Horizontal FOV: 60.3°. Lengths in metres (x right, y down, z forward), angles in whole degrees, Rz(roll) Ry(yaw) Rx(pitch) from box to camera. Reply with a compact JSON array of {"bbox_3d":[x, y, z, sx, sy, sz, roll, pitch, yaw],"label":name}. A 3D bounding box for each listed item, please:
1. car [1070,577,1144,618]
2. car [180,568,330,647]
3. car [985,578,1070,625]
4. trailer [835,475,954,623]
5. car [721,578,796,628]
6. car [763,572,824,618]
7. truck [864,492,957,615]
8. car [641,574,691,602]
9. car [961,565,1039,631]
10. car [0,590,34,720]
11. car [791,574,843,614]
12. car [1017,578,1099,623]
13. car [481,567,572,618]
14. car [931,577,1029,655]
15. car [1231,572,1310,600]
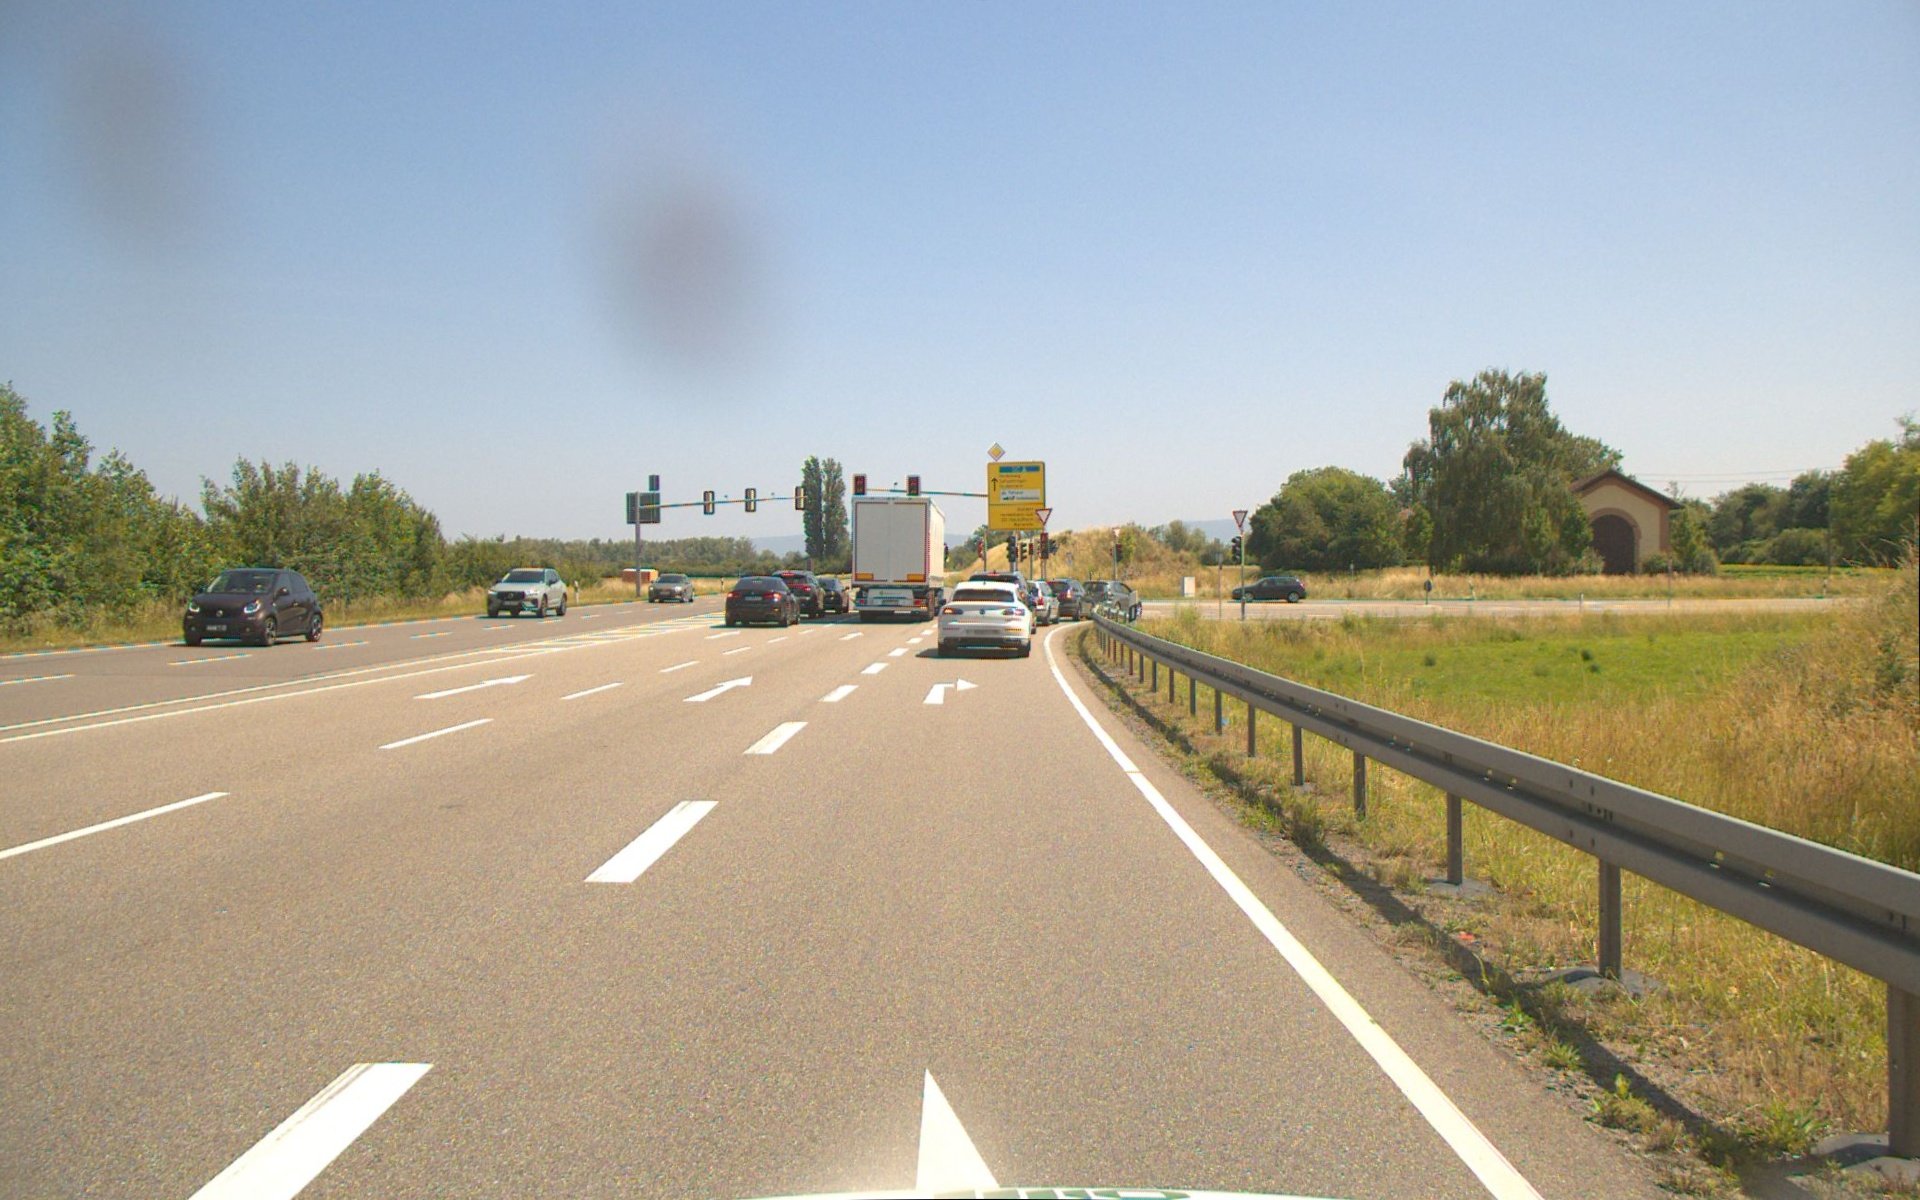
[{"bbox_3d":[5.841,-0.098,65.435,1.763,1.548,3.881,1,0,24],"label":"car"},{"bbox_3d":[-14.436,0.130,34.039,1.611,1.513,3.558,1,1,-1],"label":"car"},{"bbox_3d":[2.211,0.032,53.065,1.762,1.454,4.095,1,0,16],"label":"car"},{"bbox_3d":[-2.096,-1.697,58.813,3.311,4.622,12.875,1,1,2],"label":"trailer"},{"bbox_3d":[-6.011,0.065,49.748,1.772,1.423,4.021,1,1,-1],"label":"car"},{"bbox_3d":[-5.858,-0.189,58.500,1.772,1.519,4.021,1,1,-1],"label":"car"},{"bbox_3d":[-1.889,-1.805,66.062,3.311,4.622,6.374,1,1,1],"label":"truck"},{"bbox_3d":[-15.161,-0.618,85.551,1.840,1.422,4.530,0,0,-1],"label":"car"},{"bbox_3d":[1.100,-0.076,43.736,1.894,1.644,4.380,0,0,3],"label":"car"},{"bbox_3d":[-10.537,0.569,14.878,1.768,1.302,4.765,0,1,-1],"label":"car"},{"bbox_3d":[-5.702,-0.246,66.348,1.772,1.519,4.021,1,1,-1],"label":"car"},{"bbox_3d":[3.515,0.007,58.510,1.762,1.502,4.416,1,0,19],"label":"car"},{"bbox_3d":[-14.868,-0.283,56.988,1.987,1.668,4.568,1,1,-1],"label":"car"},{"bbox_3d":[0.430,0.280,33.305,1.809,1.458,4.609,0,0,1],"label":"car"},{"bbox_3d":[17.493,-0.794,93.331,4.170,1.392,1.777,-1,2,4],"label":"car"}]
